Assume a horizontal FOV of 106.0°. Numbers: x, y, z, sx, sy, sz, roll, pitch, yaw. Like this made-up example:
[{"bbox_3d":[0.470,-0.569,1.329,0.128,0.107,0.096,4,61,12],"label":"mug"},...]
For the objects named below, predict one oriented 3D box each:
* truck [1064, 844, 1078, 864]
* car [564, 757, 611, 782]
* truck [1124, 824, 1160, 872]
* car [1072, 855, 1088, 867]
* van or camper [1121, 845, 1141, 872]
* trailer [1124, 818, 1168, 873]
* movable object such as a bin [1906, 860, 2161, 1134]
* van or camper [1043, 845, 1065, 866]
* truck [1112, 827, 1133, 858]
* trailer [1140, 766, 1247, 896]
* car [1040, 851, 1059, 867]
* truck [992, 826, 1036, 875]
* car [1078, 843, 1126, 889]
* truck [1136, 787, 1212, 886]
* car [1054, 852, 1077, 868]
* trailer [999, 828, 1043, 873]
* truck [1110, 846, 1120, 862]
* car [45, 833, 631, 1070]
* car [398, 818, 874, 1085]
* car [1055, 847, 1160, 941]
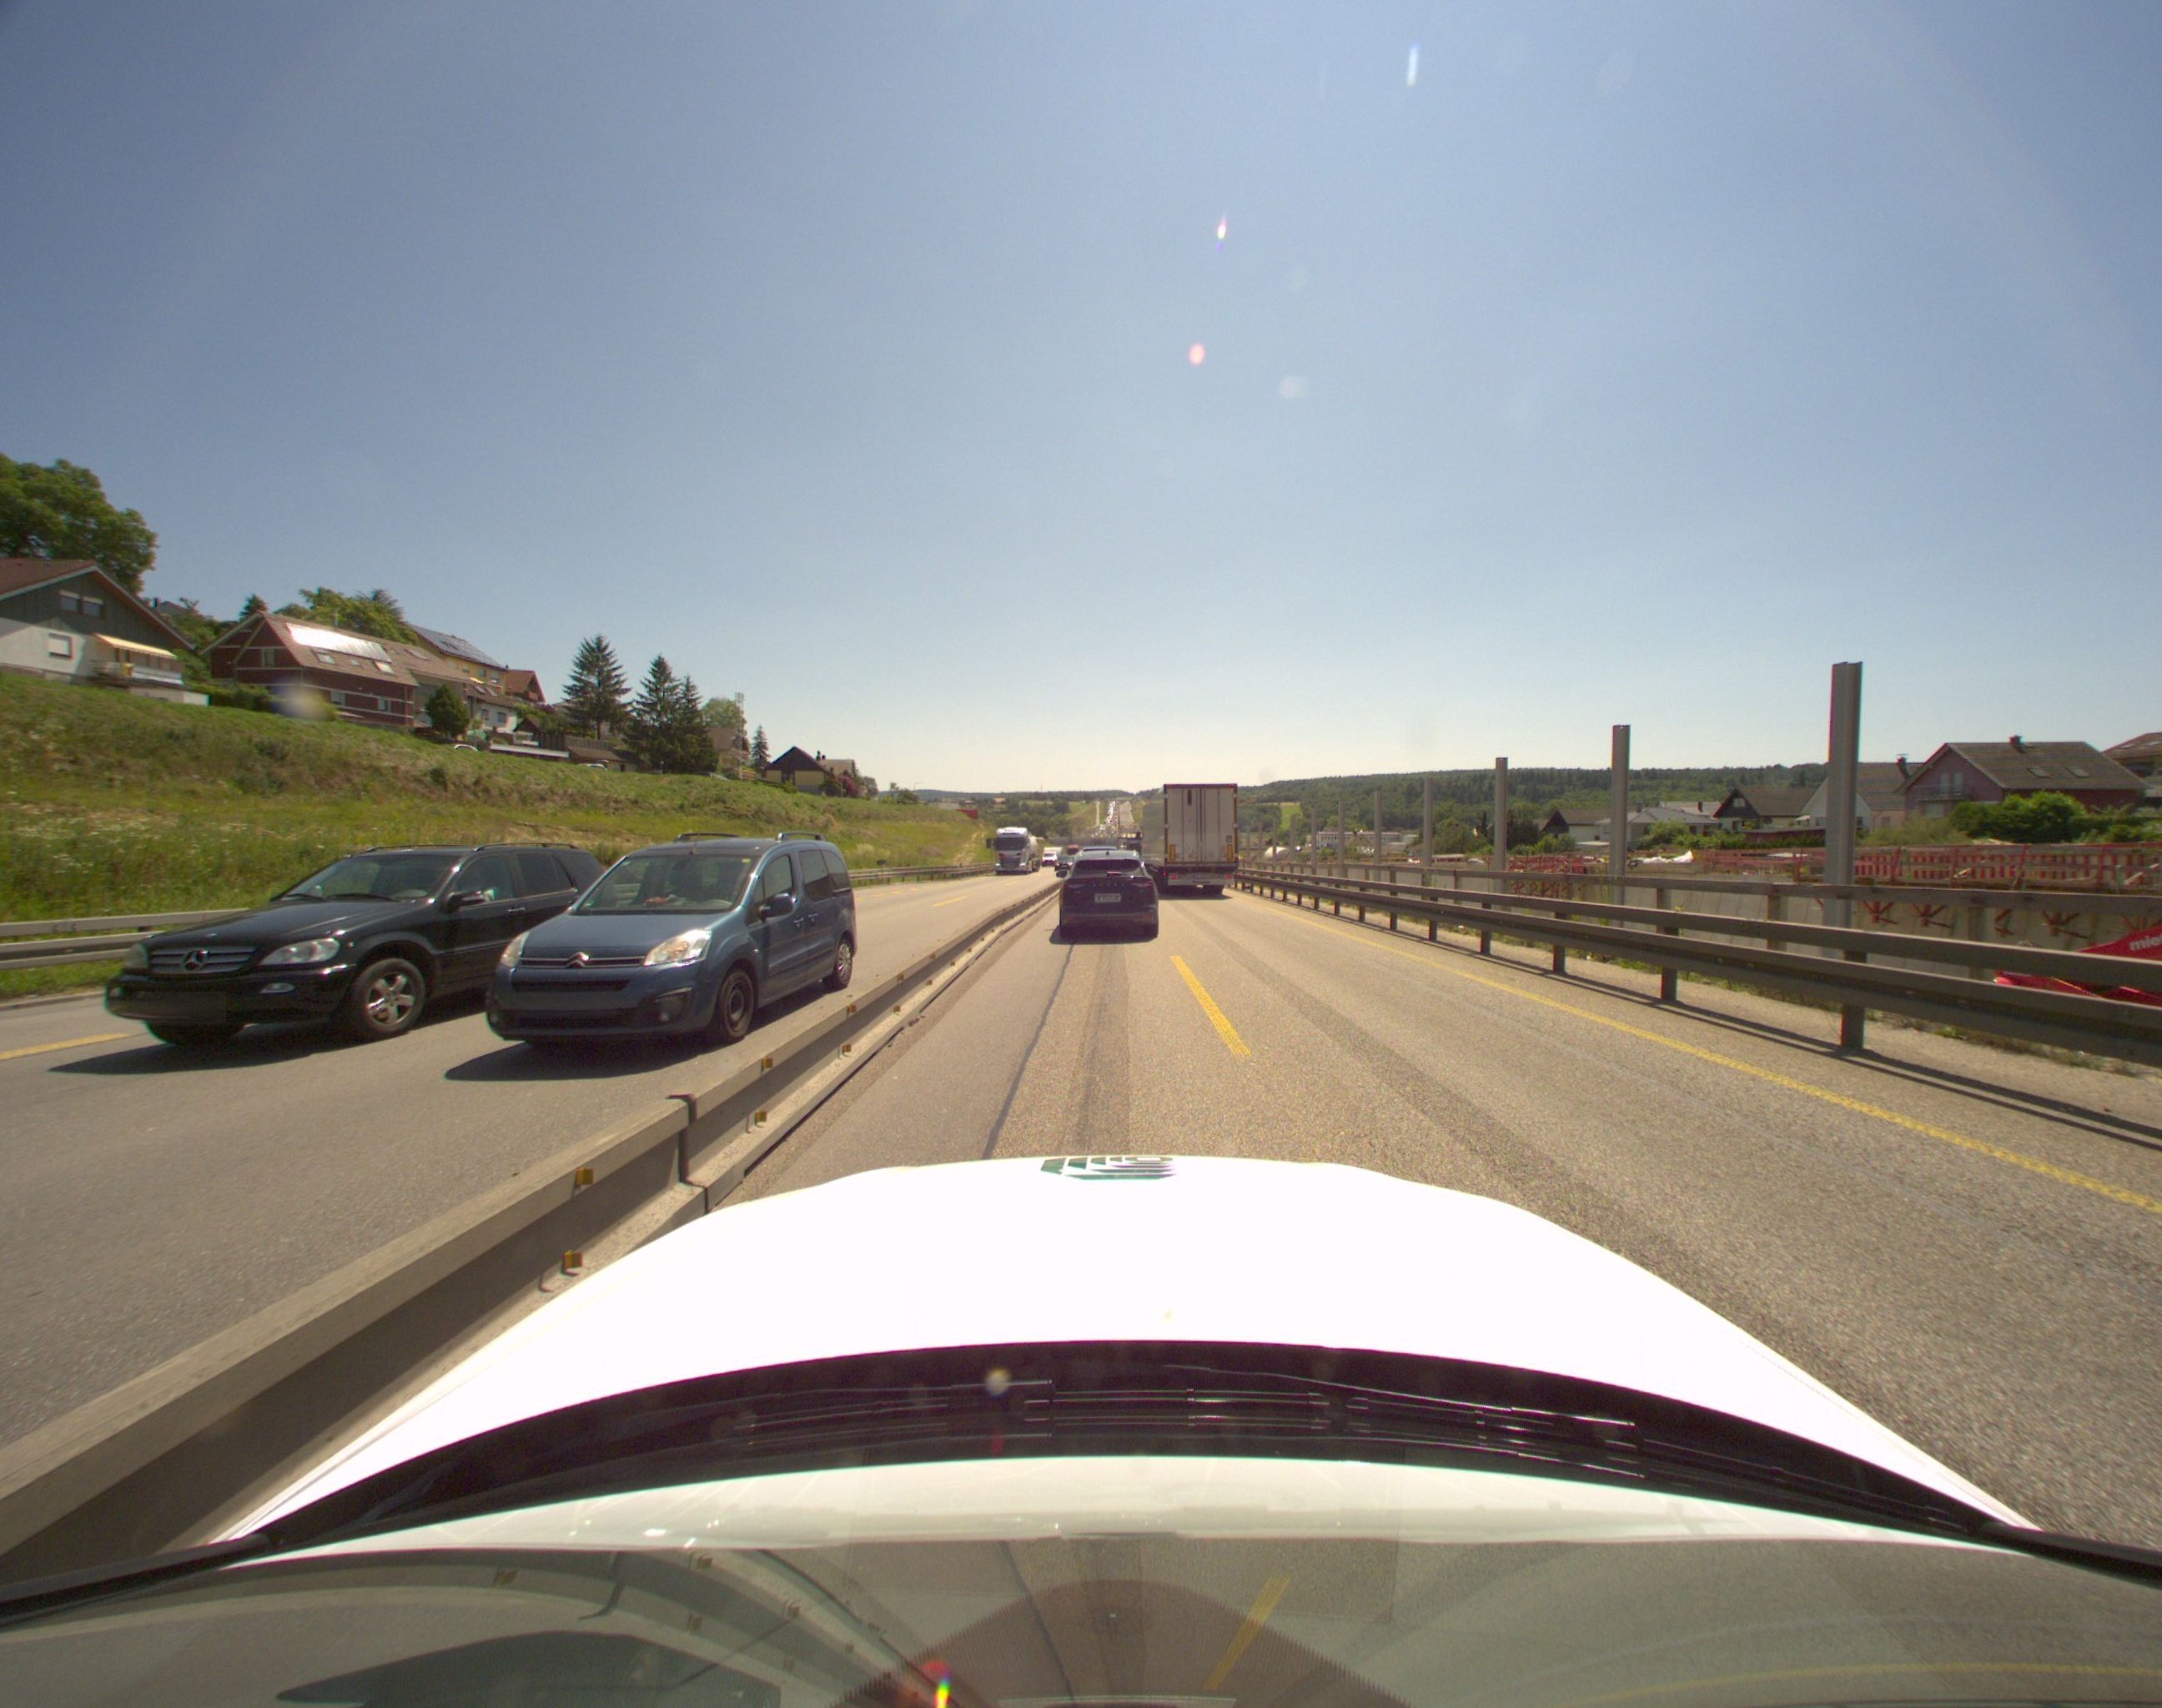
[{"bbox_3d":[-2.171,0.082,185.152,2.842,4.140,11.919,-1,-1,1],"label":"truck"},{"bbox_3d":[-50.304,-8.555,83.119,1.983,2.014,4.008,-1,-1,7],"label":"car"},{"bbox_3d":[5.944,-0.516,81.014,3.168,4.513,8.168,-1,-1,2],"label":"truck"},{"bbox_3d":[-0.056,0.843,105.011,1.905,1.480,4.638,-1,0,2],"label":"car"},{"bbox_3d":[6.296,0.582,101.710,2.378,3.281,6.475,-1,-1,4],"label":"van or camper"},{"bbox_3d":[5.683,-0.538,73.907,3.168,4.513,14.971,-1,-1,2],"label":"trailer"},{"bbox_3d":[20.323,2.459,13.675,3.215,4.743,9.657,-1,-1,2],"label":"movable object such as a bin"},{"bbox_3d":[-3.598,0.160,110.031,2.348,2.676,7.861,-1,0,2],"label":"van or camper"},{"bbox_3d":[6.422,-1.645,127.658,2.842,4.465,11.919,-1,-1,1],"label":"truck"},{"bbox_3d":[4.388,-0.818,34.967,3.168,4.513,13.114,-1,0,2],"label":"trailer"},{"bbox_3d":[-3.916,0.663,103.427,1.986,1.971,5.345,-1,0,2],"label":"car"},{"bbox_3d":[-5.248,-0.282,64.994,2.769,3.672,6.278,-1,0,1],"label":"truck"},{"bbox_3d":[0.947,0.566,36.481,1.986,1.926,4.508,-1,-1,1],"label":"car"},{"bbox_3d":[4.541,-0.810,41.461,3.168,4.513,8.169,-1,0,2],"label":"truck"},{"bbox_3d":[-1.419,0.546,76.864,1.887,1.414,4.682,-1,0,2],"label":"car"},{"bbox_3d":[-5.080,-0.292,71.052,2.707,3.594,11.797,-1,0,1],"label":"trailer"},{"bbox_3d":[9.642,0.007,231.599,2.630,4.194,9.287,-1,-1,2],"label":"truck"},{"bbox_3d":[-6.904,0.749,8.444,1.821,1.766,4.498,-1,0,2],"label":"car"},{"bbox_3d":[-3.641,0.665,7.961,1.839,1.777,4.883,-1,0,1],"label":"car"},{"bbox_3d":[0.545,0.713,16.053,1.795,1.607,4.002,-1,-1,2],"label":"car"}]
